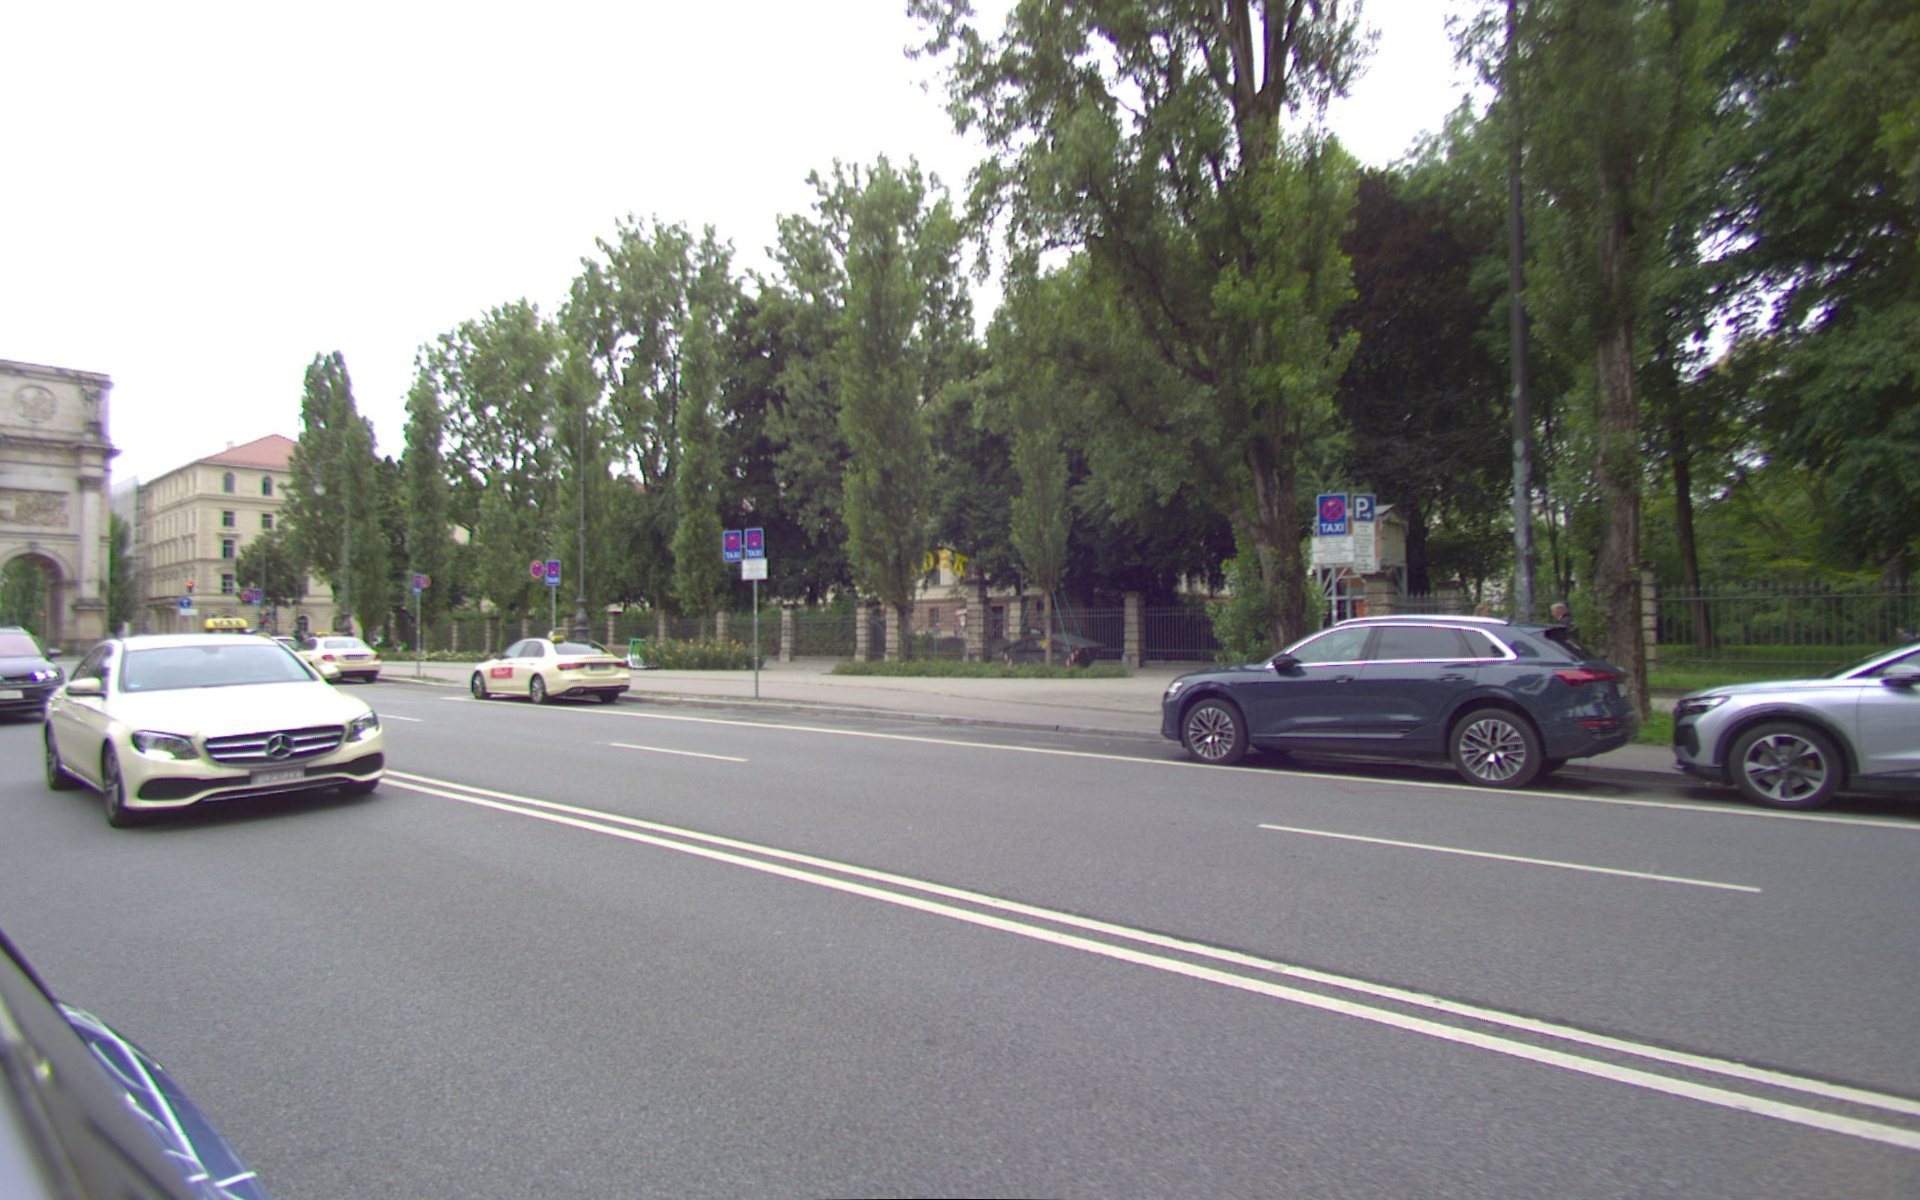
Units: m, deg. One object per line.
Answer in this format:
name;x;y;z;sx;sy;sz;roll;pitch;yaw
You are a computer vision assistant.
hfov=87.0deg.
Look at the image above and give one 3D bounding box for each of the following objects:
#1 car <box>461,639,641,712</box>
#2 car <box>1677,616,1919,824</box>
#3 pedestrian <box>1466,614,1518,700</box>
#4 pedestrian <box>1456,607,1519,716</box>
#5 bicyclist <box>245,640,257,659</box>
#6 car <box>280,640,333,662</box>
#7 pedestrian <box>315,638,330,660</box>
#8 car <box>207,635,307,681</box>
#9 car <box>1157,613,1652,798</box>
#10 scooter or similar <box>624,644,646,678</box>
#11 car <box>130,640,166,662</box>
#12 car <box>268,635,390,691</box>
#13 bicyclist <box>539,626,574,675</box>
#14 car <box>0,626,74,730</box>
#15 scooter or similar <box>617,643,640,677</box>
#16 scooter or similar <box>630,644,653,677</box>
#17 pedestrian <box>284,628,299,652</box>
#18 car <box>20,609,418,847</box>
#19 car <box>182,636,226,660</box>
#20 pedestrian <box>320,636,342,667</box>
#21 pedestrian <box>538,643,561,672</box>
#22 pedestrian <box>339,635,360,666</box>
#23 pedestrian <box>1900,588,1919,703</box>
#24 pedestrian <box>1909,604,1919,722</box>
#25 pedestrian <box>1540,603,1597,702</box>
car;-9.491;1.695;23.284;4.788;1.509;1.910;-3;-4;41
car;8.614;0.927;7.998;4.650;1.596;1.871;-2;-3;40
pedestrian;10.152;1.073;19.324;0.704;1.608;0.612;-3;-2;42
pedestrian;8.665;0.990;16.627;0.786;1.733;0.577;-2;-2;39
bicyclist;-63.130;4.400;90.090;0.858;1.723;0.636;-2;-3;34
car;-63.697;4.956;98.712;1.998;2.029;3.946;-3;-3;40
pedestrian;-52.965;4.076;84.122;0.754;1.799;0.902;-3;-3;43
car;-25.826;2.096;37.119;4.855;1.571;1.800;-2;-4;40
car;4.615;1.035;10.986;4.610;1.608;1.764;-3;-4;40
scooter or similar;-12.027;2.254;37.470;1.121;1.210;0.240;-2;-3;41
car;-64.450;4.033;80.279;4.002;1.684;1.761;-3;-3;45
car;-20.476;1.980;32.757;4.961;1.637;1.917;-1;-3;40
bicyclist;-12.716;1.576;31.881;0.860;1.510;0.687;-3;-3;39
car;-17.147;1.331;17.643;4.408;1.636;1.928;-2;0;41
scooter or similar;-12.202;2.200;37.268;1.140;1.251;0.255;-2;-3;42
scooter or similar;-11.856;2.255;37.667;1.121;1.210;0.240;-2;-3;41
pedestrian;-57.711;3.426;87.426;0.747;2.029;0.793;-1;-2;5
car;-6.890;0.941;9.194;4.686;1.587;1.895;-2;0;41
car;-62.434;3.959;83.544;4.989;1.869;1.977;-1;-3;42
pedestrian;-34.583;2.819;55.613;0.834;1.691;0.967;1;-3;-44
pedestrian;-19.479;2.710;48.024;0.832;1.347;0.575;-1;-2;14
pedestrian;-33.787;2.812;56.010;0.834;1.691;0.967;1;-3;-44
pedestrian;14.831;0.683;15.361;0.733;1.735;0.660;-3;-3;41
pedestrian;14.094;0.895;14.480;0.673;1.682;0.543;-2;-2;41
pedestrian;10.552;0.903;17.552;0.704;1.672;0.612;-2;-2;41
